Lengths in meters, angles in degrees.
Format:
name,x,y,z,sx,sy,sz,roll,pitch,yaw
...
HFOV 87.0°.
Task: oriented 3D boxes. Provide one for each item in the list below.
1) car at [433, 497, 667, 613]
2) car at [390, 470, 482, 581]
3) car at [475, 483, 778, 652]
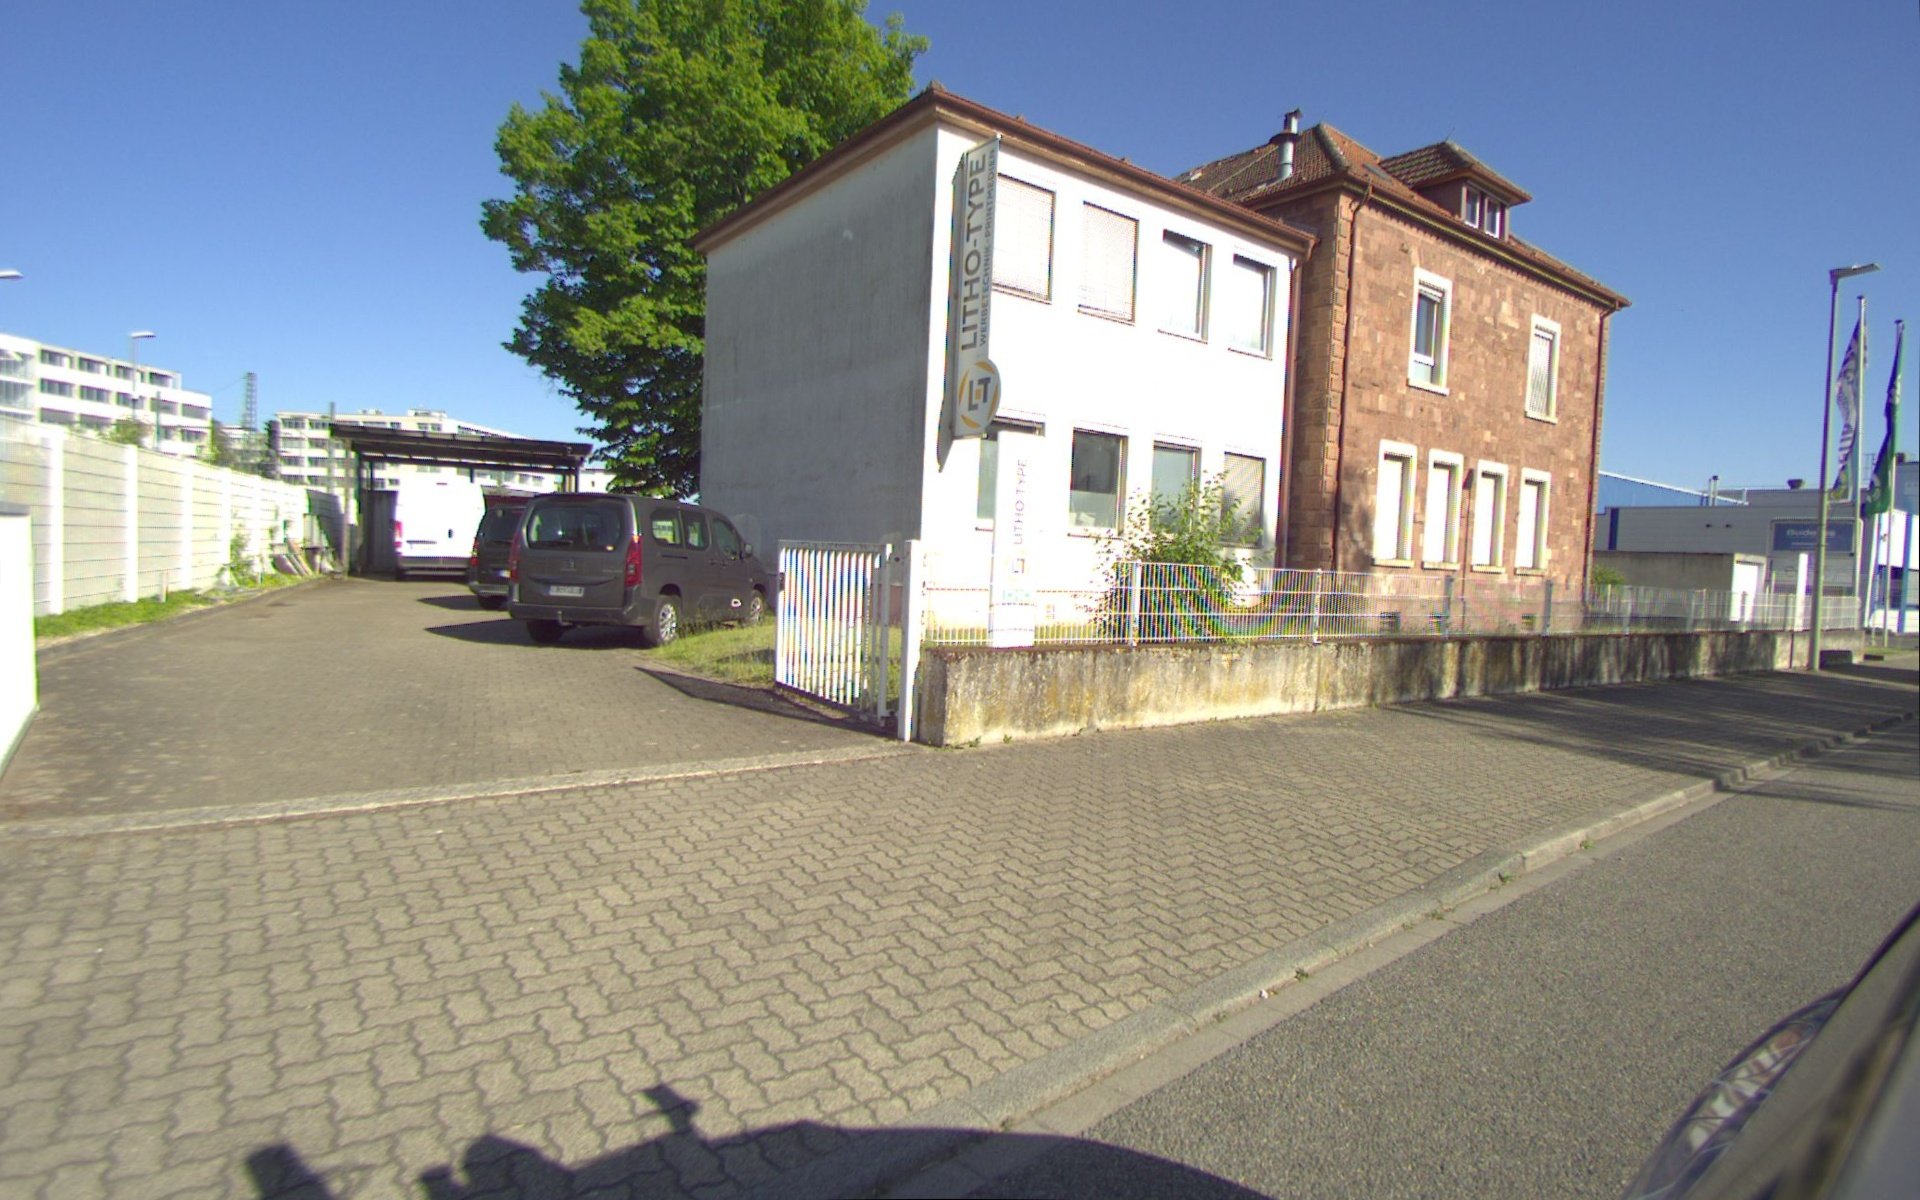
name,x,y,z,sx,sy,sz,roll,pitch,yaw
car,-7.370,-0.837,18.750,1.968,1.799,4.354,3,3,10
car,-13.831,-1.954,26.567,1.802,2.572,5.042,1,3,-31
car,-4.173,-0.470,13.533,1.968,1.799,4.354,3,3,10
